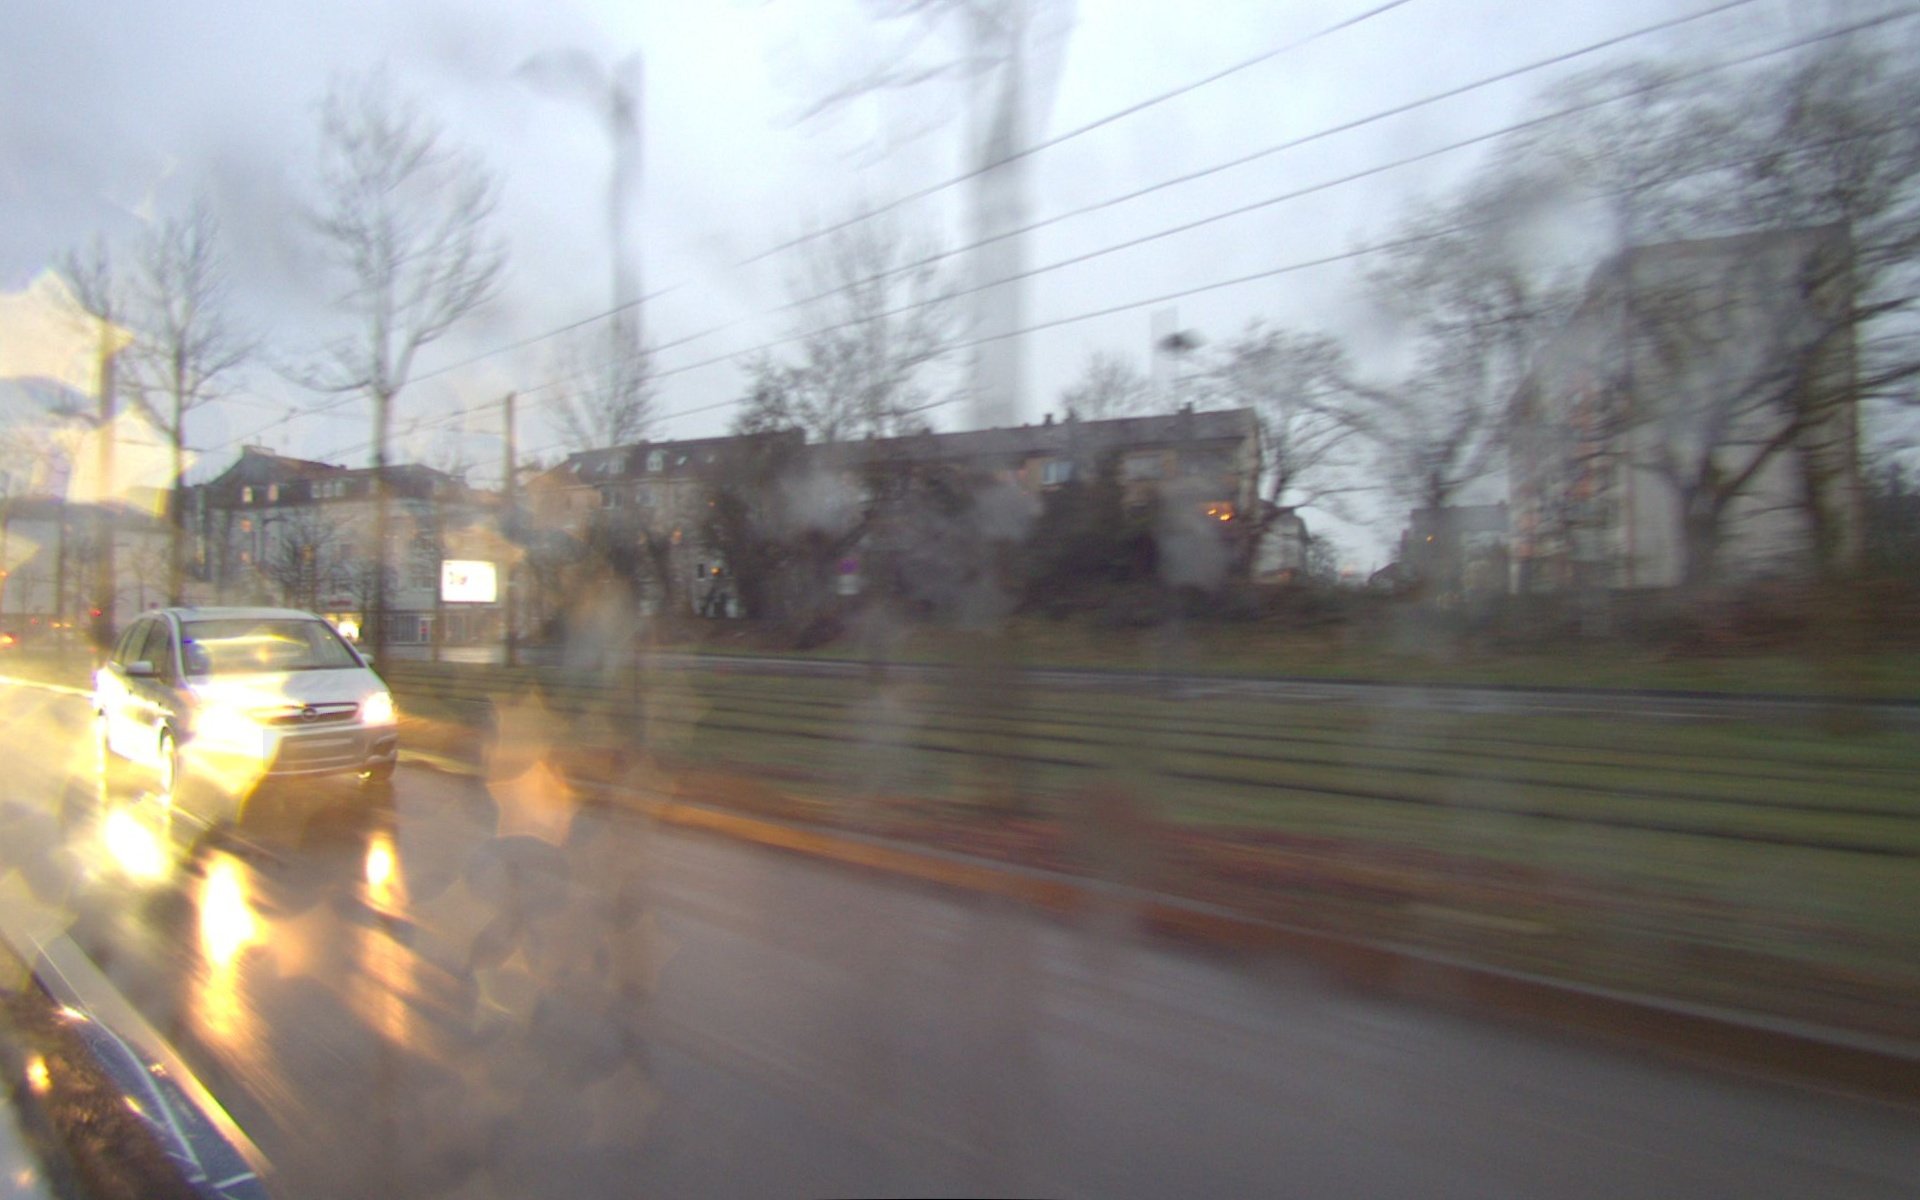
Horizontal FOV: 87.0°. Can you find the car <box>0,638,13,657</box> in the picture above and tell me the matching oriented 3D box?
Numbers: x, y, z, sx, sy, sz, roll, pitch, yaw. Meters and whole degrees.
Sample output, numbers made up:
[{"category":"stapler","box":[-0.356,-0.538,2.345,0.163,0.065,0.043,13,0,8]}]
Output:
[{"category":"car","box":[-71.574,3.516,74.240,4.271,1.365,1.879,-2,-2,30]}]

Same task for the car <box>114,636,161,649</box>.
[{"category":"car","box":[-94.419,4.847,116.223,1.769,1.487,3.863,-2,-2,27]}]

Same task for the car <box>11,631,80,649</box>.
[{"category":"car","box":[-93.432,4.089,103.472,2.310,1.871,4.643,-1,-2,20]}]

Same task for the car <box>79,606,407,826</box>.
[{"category":"car","box":[-6.659,0.897,9.243,3.922,1.587,1.647,-2,-2,42]}]
